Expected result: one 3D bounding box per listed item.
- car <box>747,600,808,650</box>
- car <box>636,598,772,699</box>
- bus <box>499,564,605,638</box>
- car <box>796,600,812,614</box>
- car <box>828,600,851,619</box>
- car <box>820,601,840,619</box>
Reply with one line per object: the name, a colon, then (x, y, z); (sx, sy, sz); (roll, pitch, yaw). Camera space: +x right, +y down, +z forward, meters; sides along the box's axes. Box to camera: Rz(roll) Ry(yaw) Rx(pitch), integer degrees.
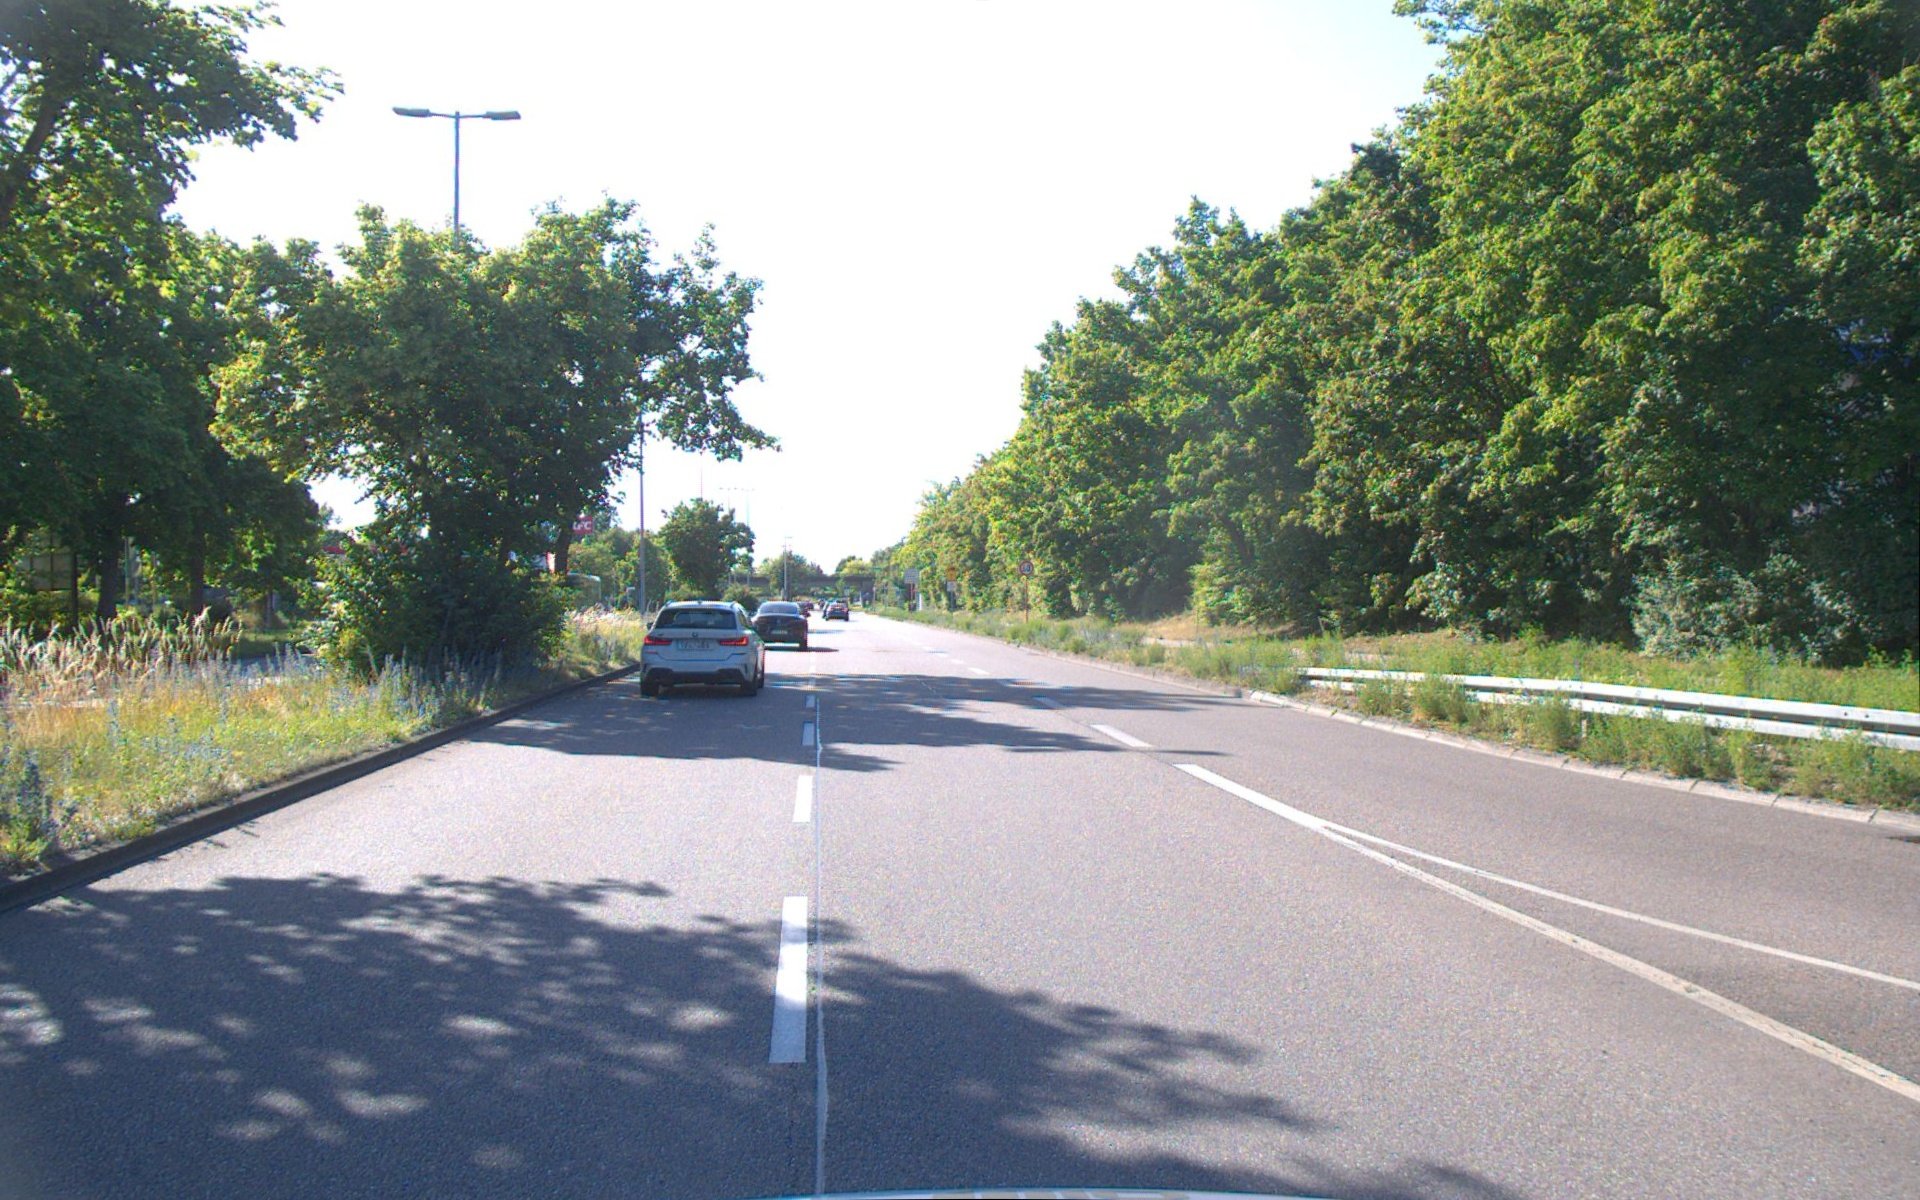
car: (-5.719, 0.749, 52.287); (1.825, 1.480, 4.542); (-1, 0, -5)
car: (-4.072, 0.720, 26.918); (1.825, 1.480, 4.543); (1, 0, -5)
bus: (-17.270, 0.012, 70.774); (2.669, 2.768, 11.075); (-3, 1, -5)
car: (-17.436, 0.788, 184.805); (1.825, 1.592, 4.542); (0, 0, -5)
car: (-10.009, 0.757, 136.936); (1.825, 1.525, 4.331); (0, 0, -5)
car: (-12.462, 0.953, 157.992); (1.738, 1.583, 3.827); (-1, 0, -7)
